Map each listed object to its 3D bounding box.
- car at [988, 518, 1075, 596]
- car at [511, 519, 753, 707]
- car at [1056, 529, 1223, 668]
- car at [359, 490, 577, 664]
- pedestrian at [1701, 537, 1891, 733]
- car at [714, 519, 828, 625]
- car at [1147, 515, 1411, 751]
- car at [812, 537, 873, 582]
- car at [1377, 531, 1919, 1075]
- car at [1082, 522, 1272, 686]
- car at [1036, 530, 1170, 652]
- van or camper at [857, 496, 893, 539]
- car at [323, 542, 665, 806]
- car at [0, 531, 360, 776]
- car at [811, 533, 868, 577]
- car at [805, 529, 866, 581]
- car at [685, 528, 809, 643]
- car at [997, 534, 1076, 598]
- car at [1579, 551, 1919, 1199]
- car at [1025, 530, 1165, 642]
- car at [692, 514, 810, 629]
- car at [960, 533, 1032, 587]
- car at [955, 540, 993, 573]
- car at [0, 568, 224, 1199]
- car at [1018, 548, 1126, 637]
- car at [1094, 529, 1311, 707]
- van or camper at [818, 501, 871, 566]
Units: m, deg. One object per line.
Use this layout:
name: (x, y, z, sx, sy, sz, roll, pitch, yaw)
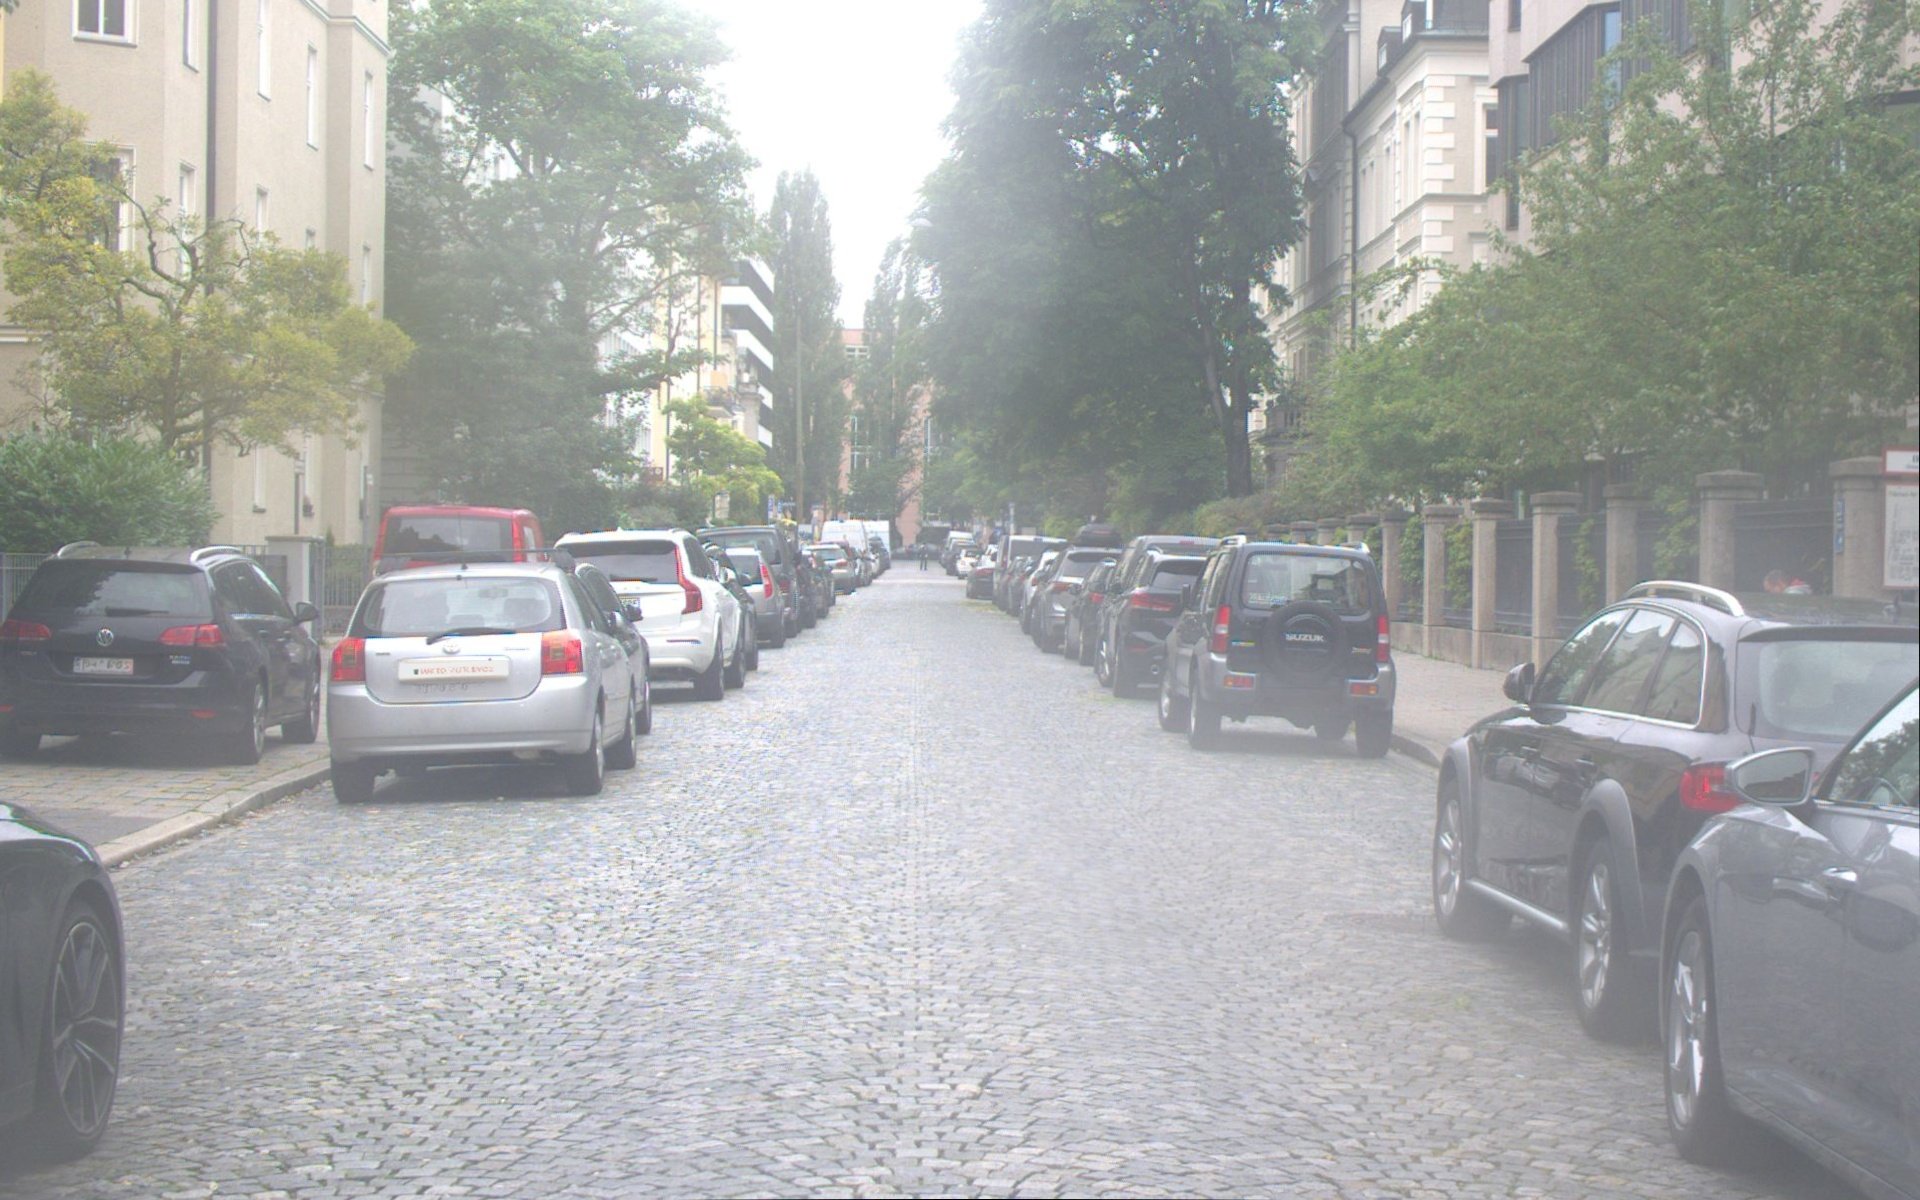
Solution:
car: (1.882, -1.169, 92.193, 1.873, 1.921, 5.165, 3, 1, -3)
car: (-3.378, 0.087, 36.337, 2.006, 1.802, 5.174, -1, 1, 0)
car: (2.487, -0.064, 48.625, 1.873, 1.729, 4.659, 4, 1, -2)
car: (-5.908, -0.311, 41.882, 1.994, 1.924, 5.331, 2, 1, -2)
pedestrian: (6.615, 0.263, 27.272, 1.217, 1.488, 1.129, -2, 1, 2)
car: (-3.659, -0.578, 67.354, 1.993, 1.910, 5.178, -3, 1, -1)
car: (2.589, 0.221, 28.718, 1.618, 1.745, 3.887, 3, 1, -2)
car: (-4.425, -1.529, 129.968, 1.873, 1.574, 4.208, 3, 1, 3)
car: (2.895, 0.576, 12.546, 1.993, 1.546, 5.015, 3, 1, -1)
car: (2.626, 0.006, 42.639, 1.788, 1.790, 4.510, 4, 1, -2)
car: (2.191, -0.170, 53.691, 1.873, 1.729, 4.892, 3, 1, 1)
van or camper: (-5.668, -5.490, 229.480, 2.256, 2.733, 5.098, 1, 1, 0)
car: (-3.006, 0.411, 22.971, 1.713, 1.557, 4.391, -1, 1, -1)
car: (-5.531, 0.302, 24.427, 1.715, 1.492, 4.722, 3, 1, -1)
car: (-4.154, -1.567, 118.202, 1.873, 1.446, 4.208, -1, 1, -3)
car: (-4.082, -1.477, 112.172, 1.873, 1.574, 4.256, -2, 1, -3)
car: (-3.445, -0.269, 55.840, 1.865, 1.729, 4.404, -2, 1, -3)
car: (1.908, -0.866, 86.478, 1.837, 1.485, 4.421, 3, 1, 0)
car: (2.791, 0.715, 7.328, 1.993, 1.546, 4.986, 2, 1, 0)
car: (2.287, -0.277, 59.482, 1.873, 1.729, 4.748, 4, 1, -3)
car: (-3.660, -0.526, 60.946, 1.873, 1.910, 4.828, -2, 1, -1)
car: (1.067, -1.215, 104.176, 1.873, 1.498, 4.512, 3, 1, -3)
car: (0.678, -2.110, 165.855, 1.790, 1.515, 4.000, 1, 1, 0)
car: (-3.017, 0.701, 7.245, 1.814, 1.450, 4.913, -2, 1, 0)
car: (2.076, -0.170, 64.618, 1.873, 1.485, 4.617, 3, 1, 1)
car: (2.548, 0.138, 37.198, 1.860, 1.696, 4.813, 3, 1, -1)
van or camper: (-4.838, -2.792, 144.923, 1.993, 2.643, 4.000, -2, 1, 0)
